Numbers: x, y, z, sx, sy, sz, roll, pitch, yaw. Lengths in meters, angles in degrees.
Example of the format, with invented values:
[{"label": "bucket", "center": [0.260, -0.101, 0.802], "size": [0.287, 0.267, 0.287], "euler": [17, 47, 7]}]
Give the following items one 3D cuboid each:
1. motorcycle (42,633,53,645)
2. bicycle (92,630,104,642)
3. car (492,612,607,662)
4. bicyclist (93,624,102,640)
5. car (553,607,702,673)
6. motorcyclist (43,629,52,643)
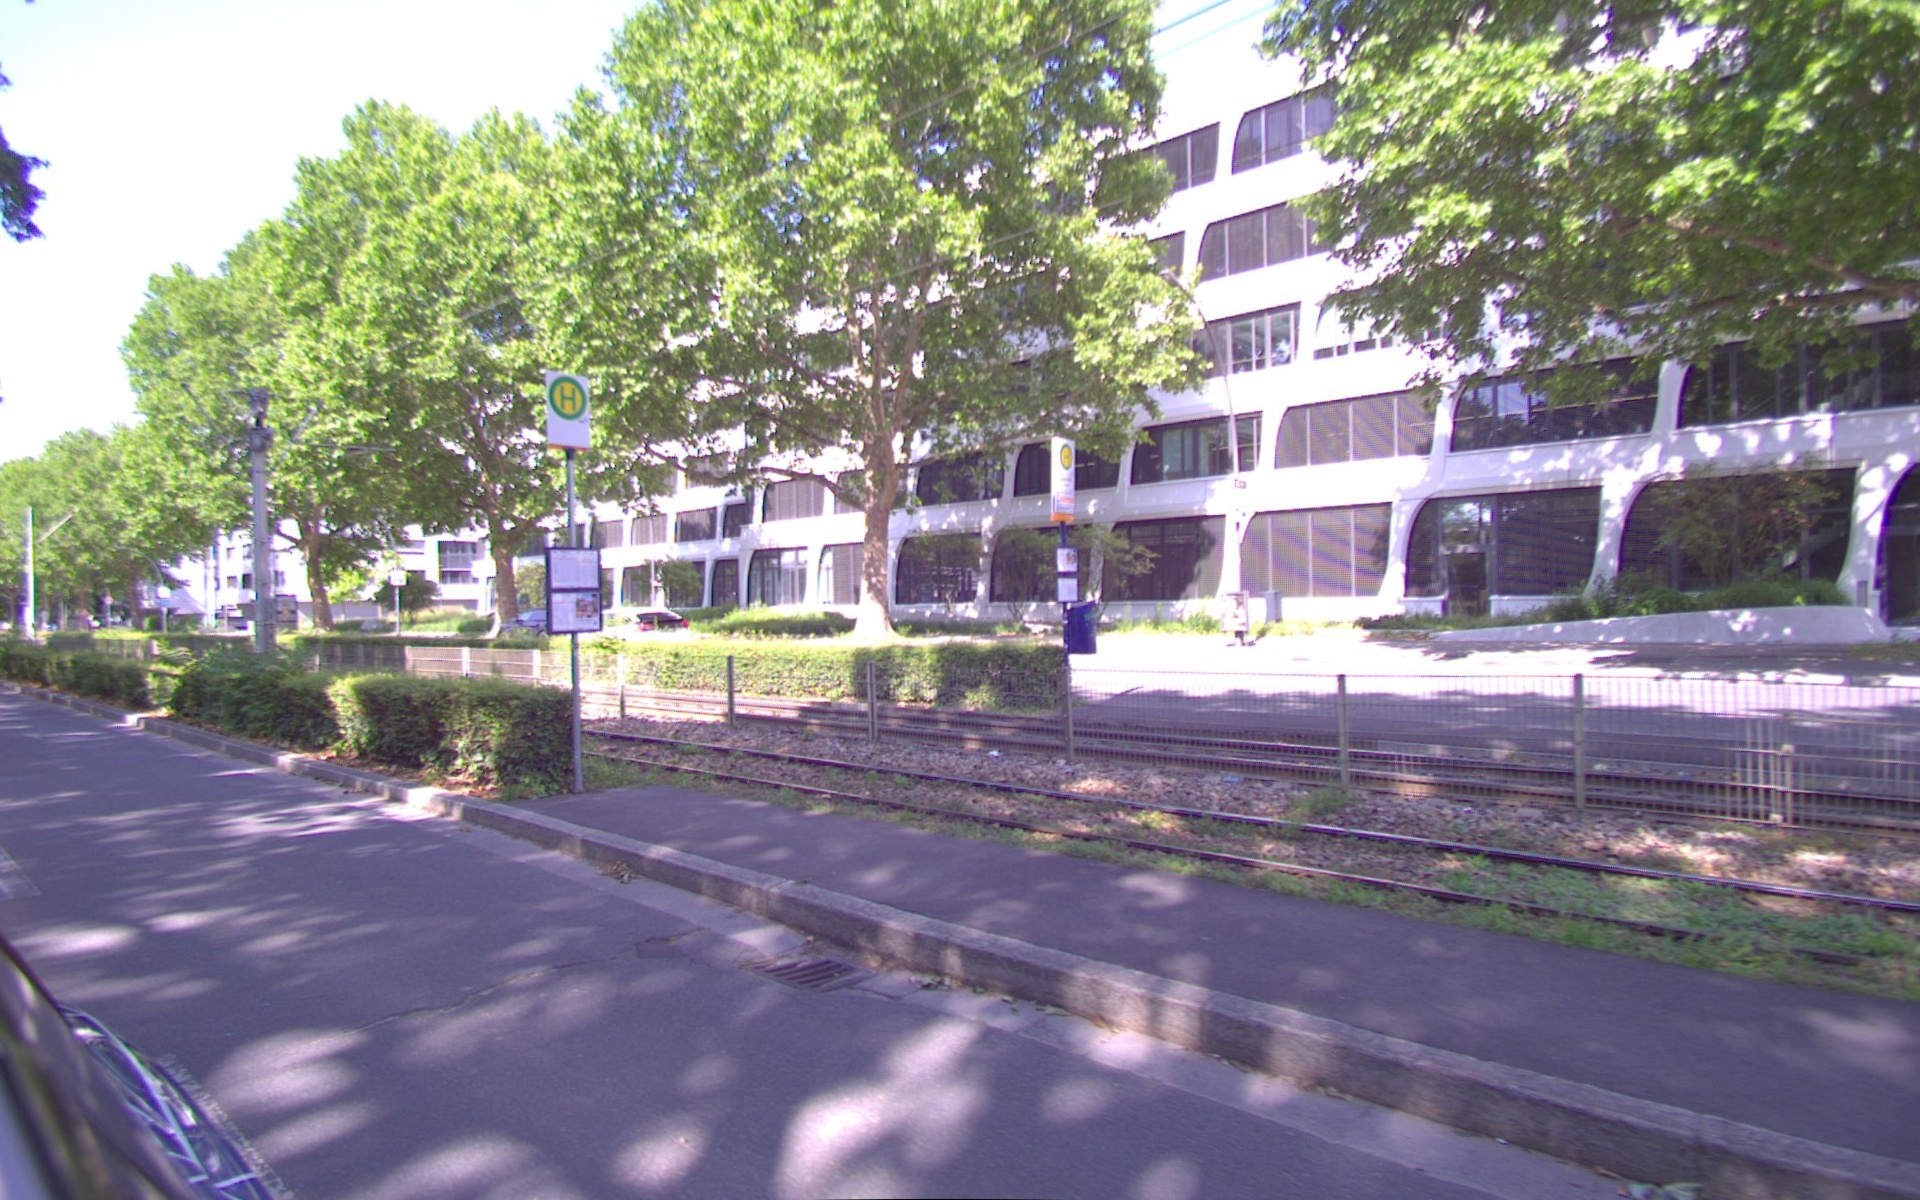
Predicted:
[{"label": "motorcycle", "center": [-93.607, 3.996, 103.800], "size": [1.999, 1.183, 0.626], "euler": [-2, 0, 41]}, {"label": "bicycle", "center": [-88.852, 3.711, 104.278], "size": [2.030, 1.132, 0.657], "euler": [-2, 0, 42]}, {"label": "car", "center": [-14.871, 1.302, 36.535], "size": [4.894, 1.636, 1.811], "euler": [-2, 0, 41]}, {"label": "bicyclist", "center": [-88.855, 3.301, 104.266], "size": [0.641, 1.546, 0.647], "euler": [-2, 0, 42]}, {"label": "car", "center": [-8.854, 1.032, 26.750], "size": [4.302, 1.574, 1.792], "euler": [-2, 0, 41]}, {"label": "motorcyclist", "center": [-93.604, 3.697, 103.784], "size": [0.533, 1.468, 0.575], "euler": [-2, 0, 41]}]
